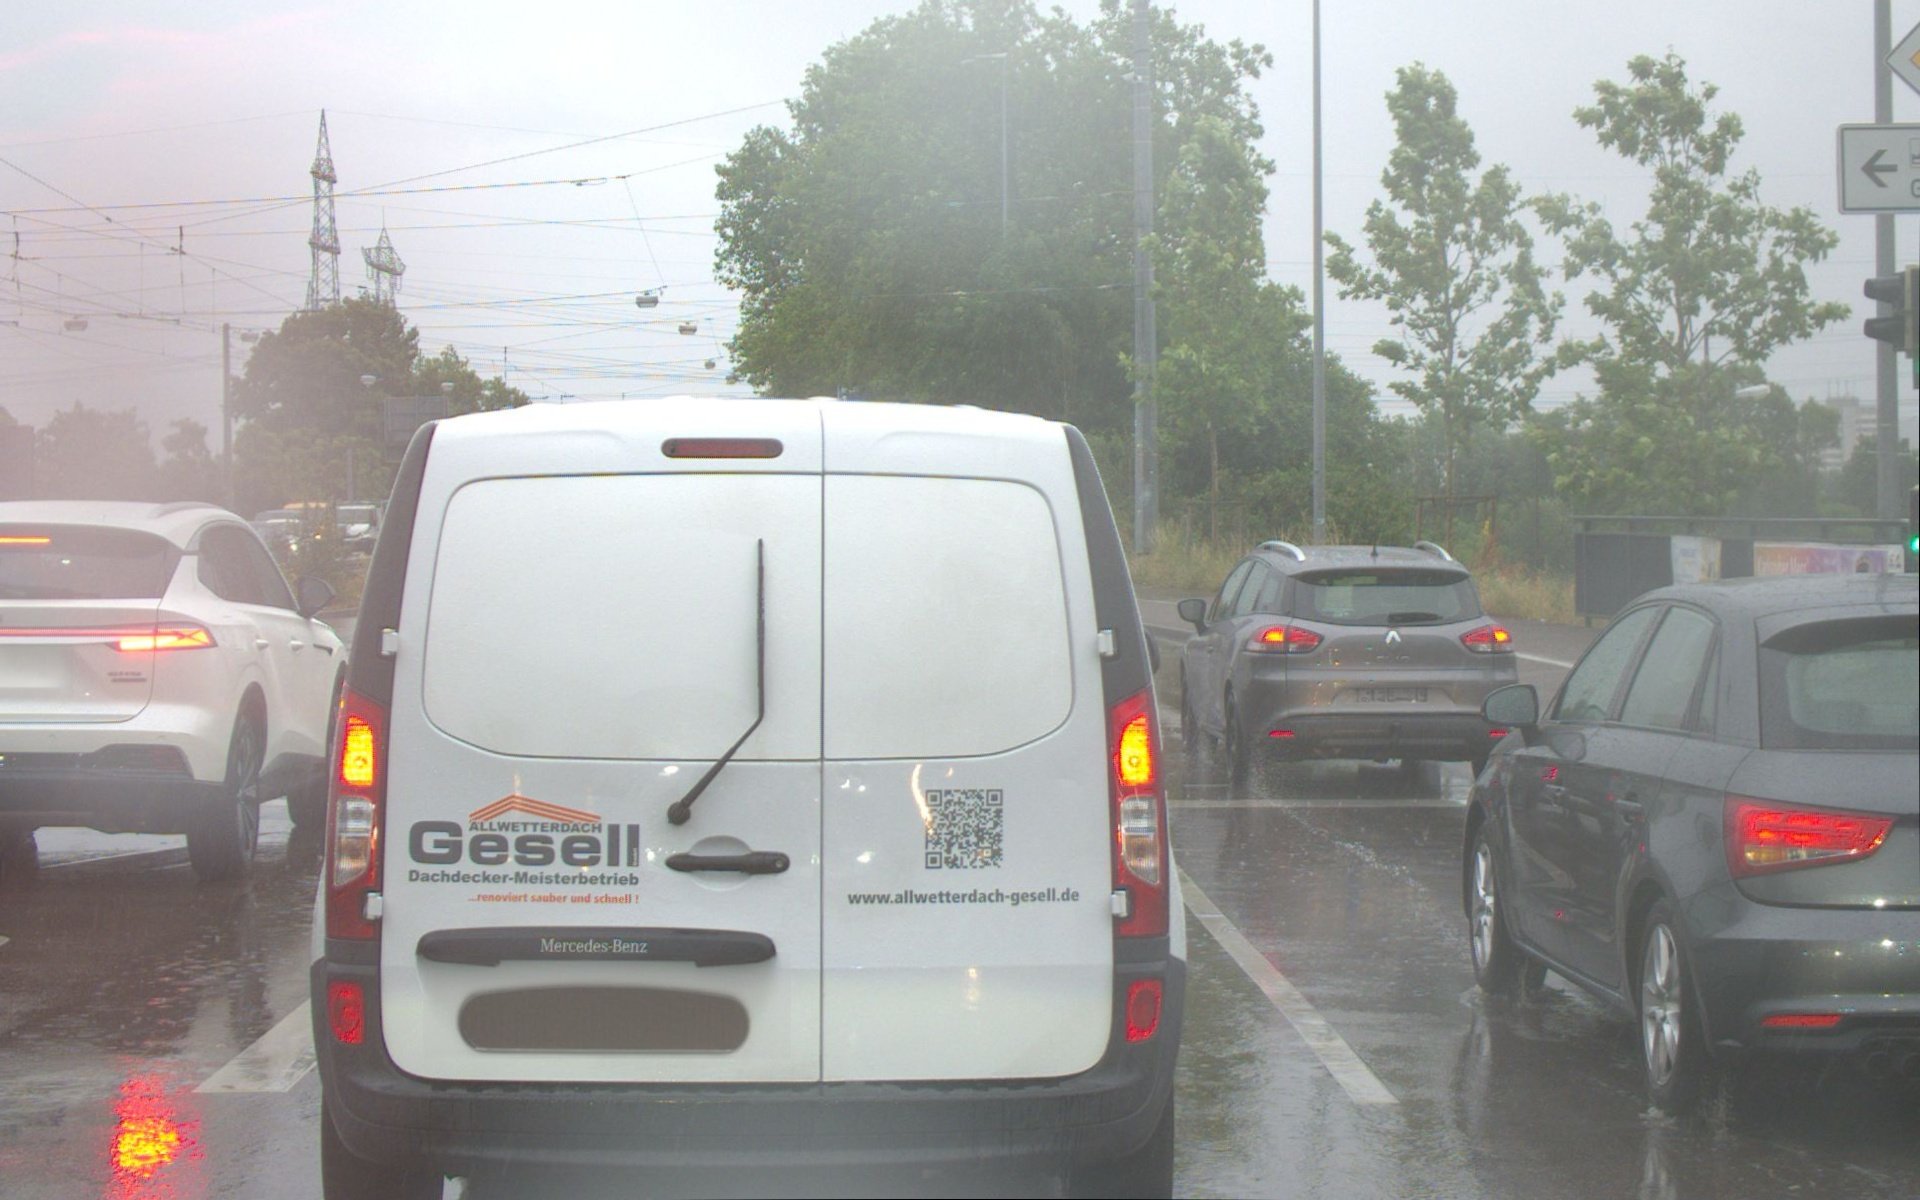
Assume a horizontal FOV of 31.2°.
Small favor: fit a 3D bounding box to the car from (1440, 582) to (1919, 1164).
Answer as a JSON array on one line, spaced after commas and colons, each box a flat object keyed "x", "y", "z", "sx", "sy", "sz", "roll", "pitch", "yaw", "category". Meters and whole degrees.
[{"x": 2.511, "y": 0.641, "z": 9.919, "sx": 1.629, "sy": 1.340, "sz": 3.624, "roll": 1, "pitch": 1, "yaw": -2, "category": "car"}]

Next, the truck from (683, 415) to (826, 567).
[{"x": -4.045, "y": -2.076, "z": 67.822, "sx": 2.632, "sy": 2.806, "sz": 7.146, "roll": 0, "pitch": 1, "yaw": -3, "category": "truck"}]

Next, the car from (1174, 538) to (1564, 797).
[{"x": 2.446, "y": 0.350, "z": 21.470, "sx": 1.859, "sy": 1.424, "sz": 3.808, "roll": 1, "pitch": 1, "yaw": -2, "category": "car"}]

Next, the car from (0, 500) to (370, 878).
[{"x": -3.952, "y": 0.302, "z": 16.134, "sx": 1.728, "sy": 1.530, "sz": 4.298, "roll": 1, "pitch": 1, "yaw": -2, "category": "car"}]

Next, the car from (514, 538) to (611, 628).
[{"x": -8.537, "y": -0.383, "z": 73.697, "sx": 1.993, "sy": 1.853, "sz": 4.001, "roll": 1, "pitch": 1, "yaw": -7, "category": "car"}]

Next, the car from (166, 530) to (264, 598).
[{"x": -22.484, "y": -1.087, "z": 103.896, "sx": 1.993, "sy": 2.007, "sz": 4.000, "roll": 1, "pitch": 1, "yaw": 1, "category": "car"}]

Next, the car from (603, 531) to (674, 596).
[{"x": -9.666, "y": -1.113, "z": 103.581, "sx": 1.993, "sy": 1.853, "sz": 4.001, "roll": 1, "pitch": 1, "yaw": -4, "category": "car"}]

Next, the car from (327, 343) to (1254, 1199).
[{"x": -0.309, "y": 0.434, "z": 7.833, "sx": 1.566, "sy": 1.782, "sz": 4.000, "roll": 0, "pitch": 1, "yaw": -1, "category": "car"}]

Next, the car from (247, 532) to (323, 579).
[{"x": -22.853, "y": -1.511, "z": 116.539, "sx": 1.763, "sy": 1.544, "sz": 3.680, "roll": 1, "pitch": 1, "yaw": 1, "category": "car"}]
